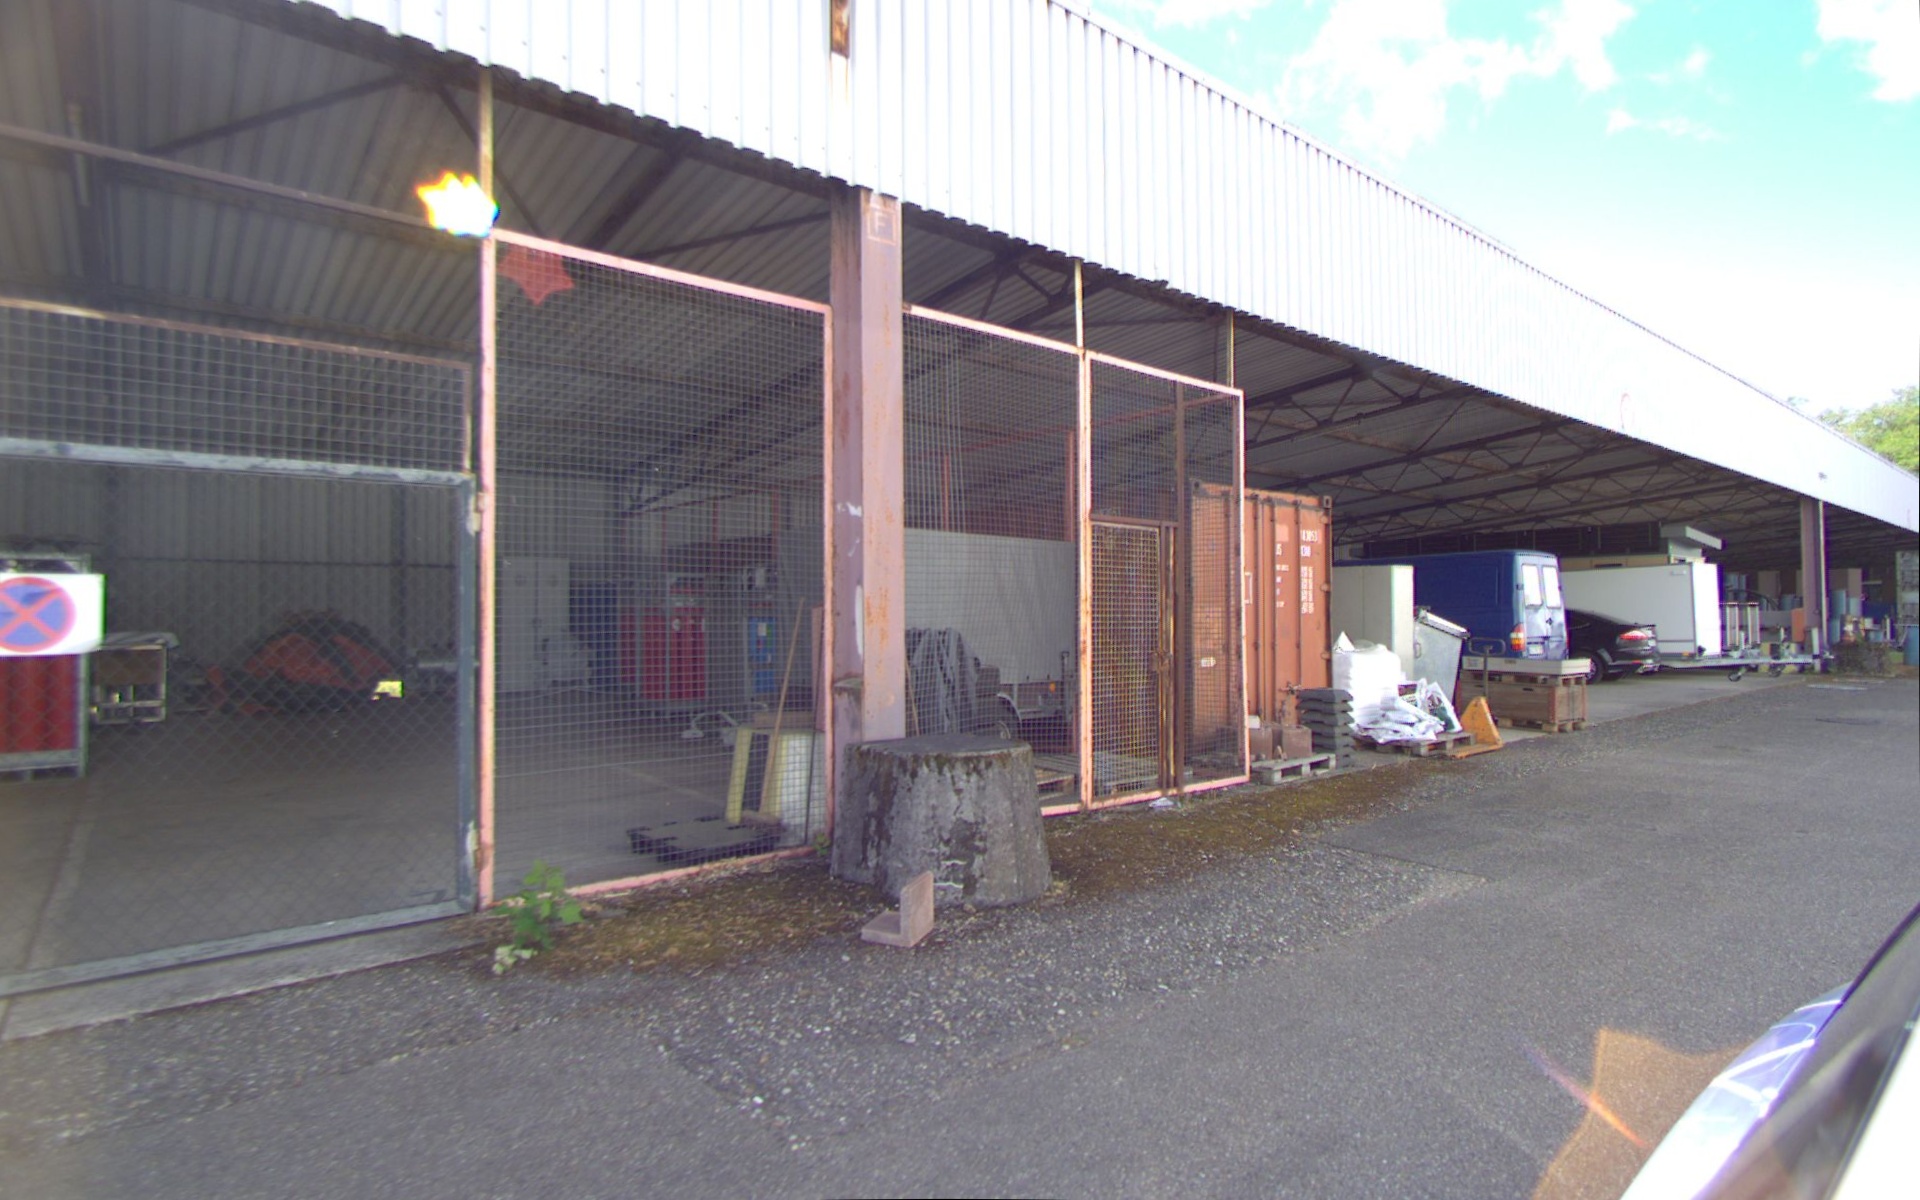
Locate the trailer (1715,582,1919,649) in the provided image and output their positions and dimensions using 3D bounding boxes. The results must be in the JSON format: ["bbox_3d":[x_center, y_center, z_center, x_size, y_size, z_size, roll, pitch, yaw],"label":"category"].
[{"bbox_3d":[28.044,0.466,33.255,2.009,2.022,4.831,0,0,-36],"label":"trailer"}]

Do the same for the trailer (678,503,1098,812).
[{"bbox_3d":[-0.508,0.390,8.857,3.462,2.170,1.579,0,0,-43],"label":"trailer"}]

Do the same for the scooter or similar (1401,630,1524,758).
[{"bbox_3d":[5.095,0.903,10.221,1.564,1.149,0.521,-1,-1,-40],"label":"scooter or similar"}]

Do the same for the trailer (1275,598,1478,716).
[{"bbox_3d":[5.836,0.745,14.261,1.611,1.481,2.100,-1,0,-36],"label":"trailer"}]

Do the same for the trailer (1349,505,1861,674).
[{"bbox_3d":[14.987,-0.220,24.788,2.627,3.337,10.317,0,0,-38],"label":"trailer"}]

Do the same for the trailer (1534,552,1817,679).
[{"bbox_3d":[14.758,0.286,21.130,1.658,2.365,4.552,0,0,-38],"label":"trailer"}]

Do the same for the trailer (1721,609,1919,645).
[{"bbox_3d":[30.453,0.927,35.475,1.973,1.147,5.743,0,-1,-40],"label":"trailer"}]

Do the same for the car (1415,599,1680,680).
[{"bbox_3d":[11.862,0.719,20.646,1.833,1.451,4.349,0,0,-42],"label":"car"}]

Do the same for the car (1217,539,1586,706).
[{"bbox_3d":[7.081,0.347,16.790,2.047,2.327,5.225,0,-1,-40],"label":"car"}]
